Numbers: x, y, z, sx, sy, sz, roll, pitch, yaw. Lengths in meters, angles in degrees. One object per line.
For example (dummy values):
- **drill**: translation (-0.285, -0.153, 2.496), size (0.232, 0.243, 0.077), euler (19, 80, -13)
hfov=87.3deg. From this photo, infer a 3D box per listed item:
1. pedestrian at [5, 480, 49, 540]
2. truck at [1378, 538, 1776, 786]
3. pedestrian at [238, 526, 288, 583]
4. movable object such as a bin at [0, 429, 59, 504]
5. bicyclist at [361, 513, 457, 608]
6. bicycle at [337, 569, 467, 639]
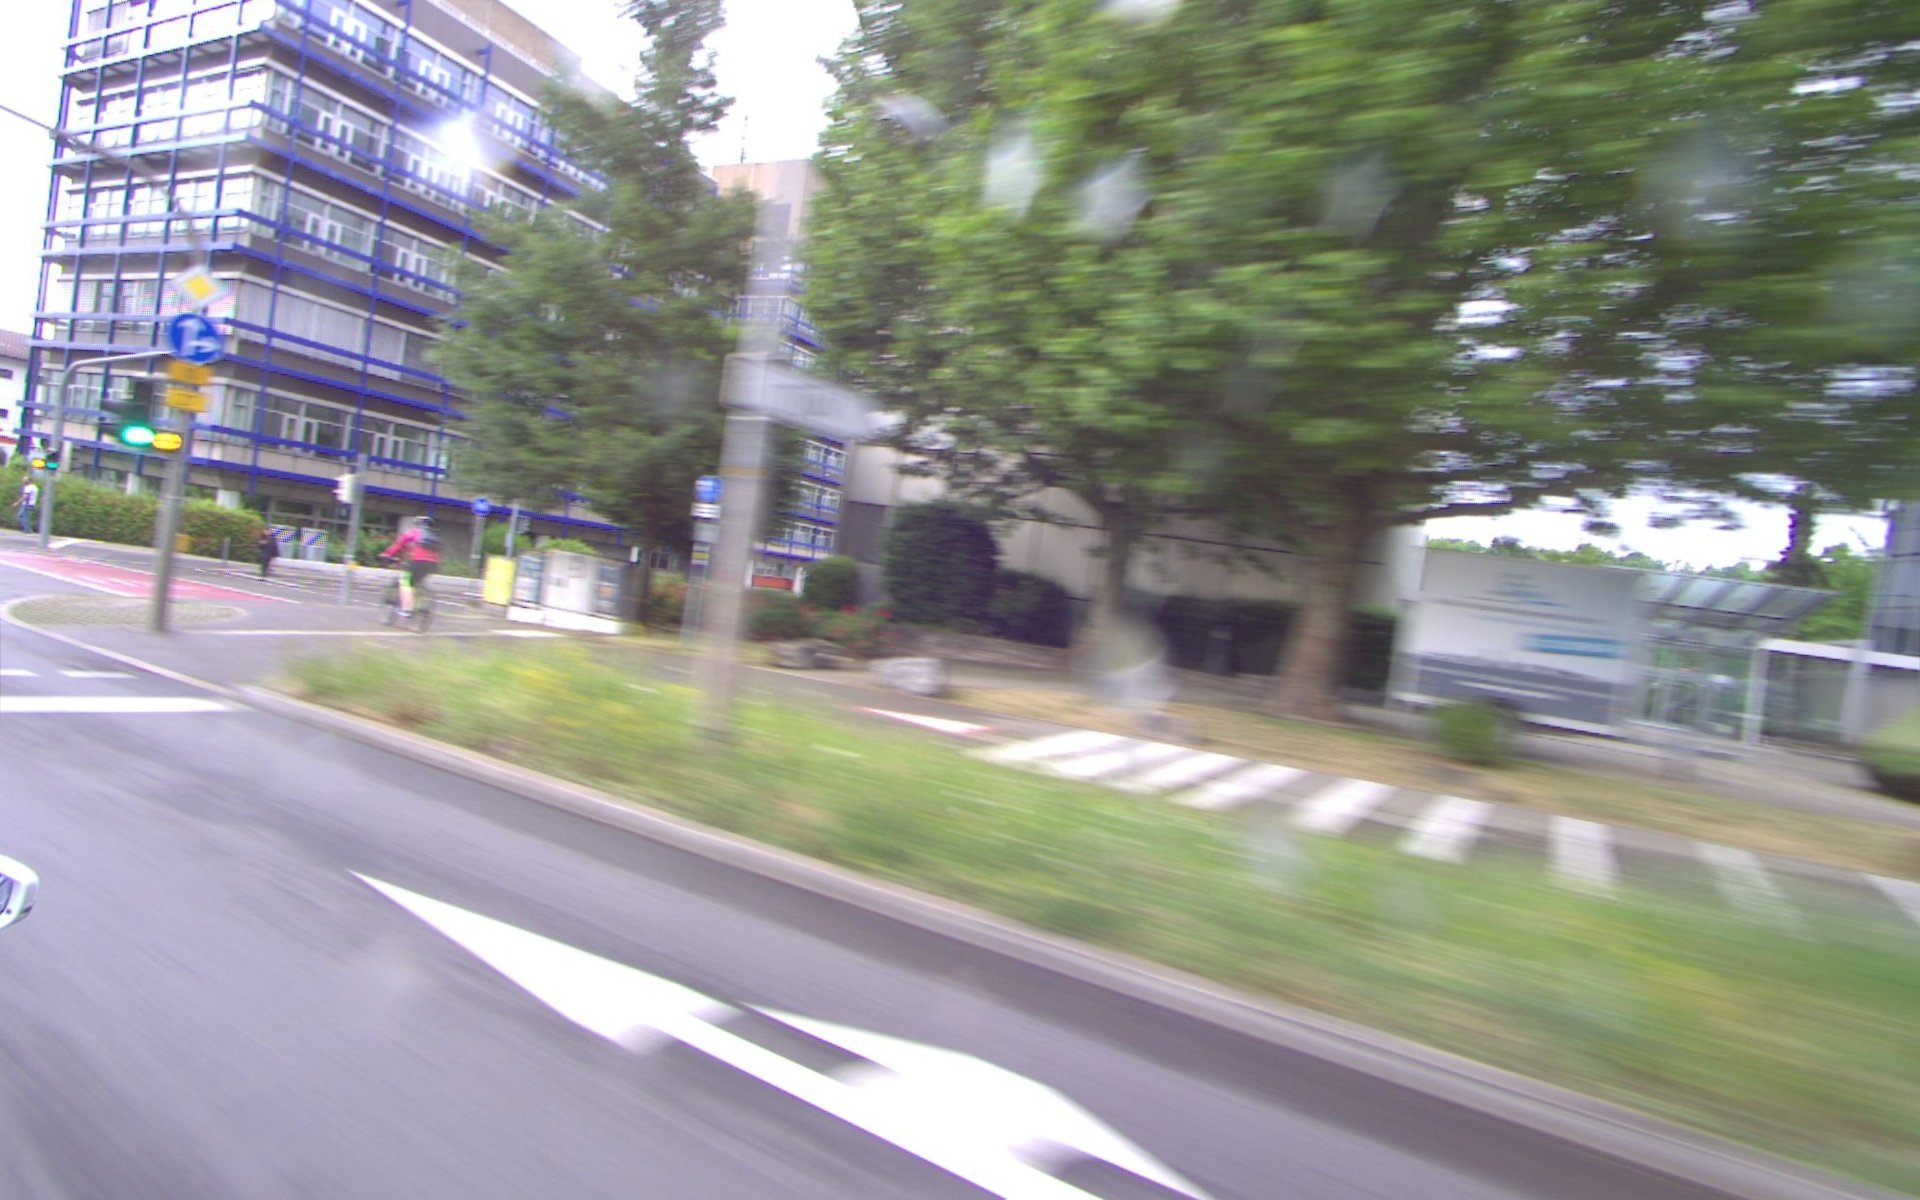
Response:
- **pedestrian**: translation (-28.157, -2.718, 30.364), size (0.817, 1.673, 0.555), euler (7, 1, 22)
- **truck**: translation (7.775, 0.723, 13.089), size (3.931, 2.547, 1.751), euler (6, -1, 28)
- **pedestrian**: translation (-20.809, -1.352, 30.047), size (0.891, 1.560, 0.796), euler (7, 1, -19)
- **movable object such as a bin**: translation (-77.240, -10.891, 76.556), size (3.727, 5.326, 12.151), euler (6, 0, 32)
- **bicyclist**: translation (-8.542, -0.614, 15.594), size (1.199, 1.303, 0.656), euler (7, -2, 32)
- **bicycle**: translation (-8.687, 0.050, 15.619), size (2.280, 0.818, 0.668), euler (6, -2, 32)
